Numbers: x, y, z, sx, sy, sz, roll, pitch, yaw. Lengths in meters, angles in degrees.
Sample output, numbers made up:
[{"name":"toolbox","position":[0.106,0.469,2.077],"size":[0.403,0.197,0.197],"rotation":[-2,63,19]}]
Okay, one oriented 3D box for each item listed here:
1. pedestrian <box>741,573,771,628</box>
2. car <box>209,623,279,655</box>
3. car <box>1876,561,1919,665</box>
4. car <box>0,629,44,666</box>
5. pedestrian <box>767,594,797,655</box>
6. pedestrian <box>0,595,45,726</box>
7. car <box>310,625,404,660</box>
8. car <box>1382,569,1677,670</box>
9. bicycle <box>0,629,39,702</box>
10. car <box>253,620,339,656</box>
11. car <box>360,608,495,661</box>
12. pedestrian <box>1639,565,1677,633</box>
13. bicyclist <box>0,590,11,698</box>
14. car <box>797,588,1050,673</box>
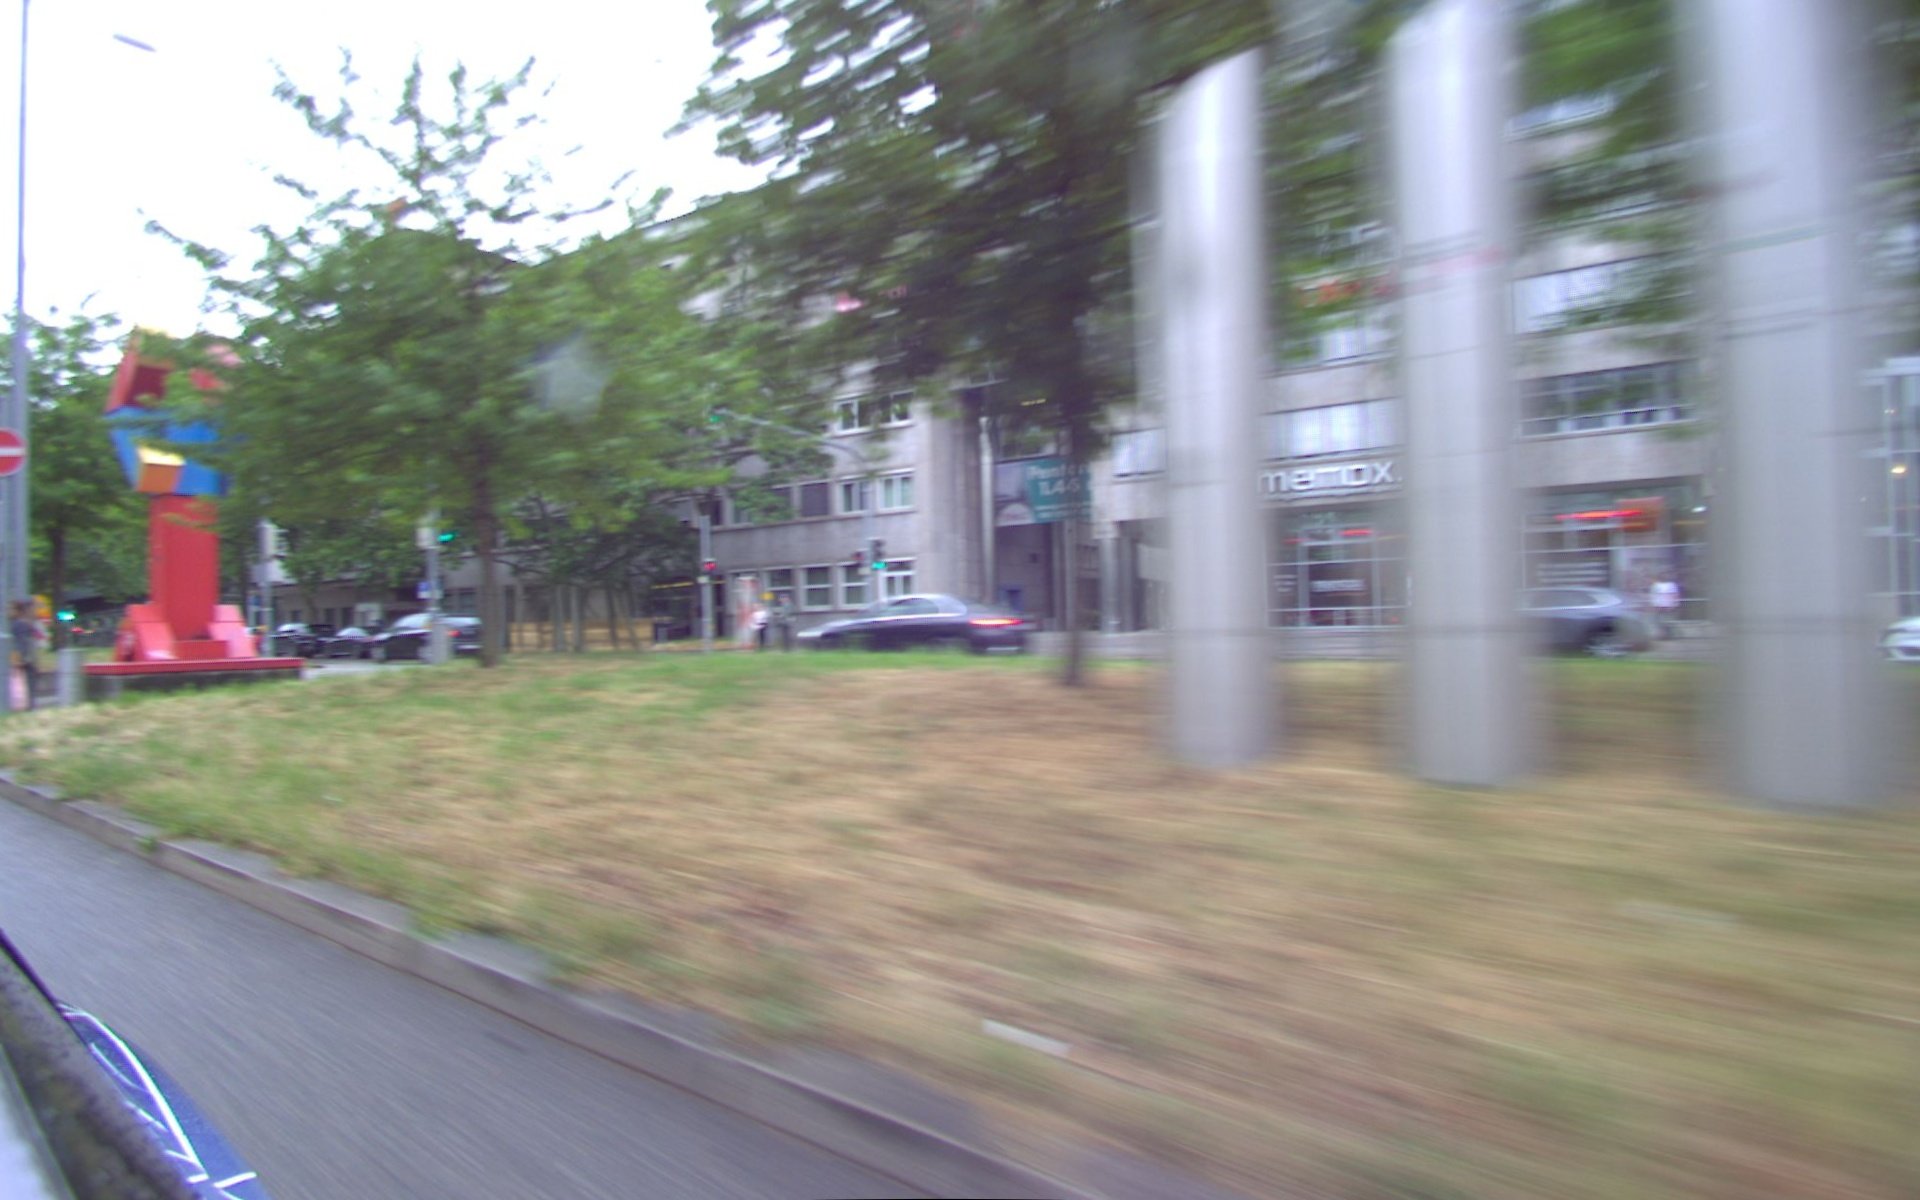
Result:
[{"name":"pedestrian","position":[-6.194,0.006,30.746],"size":[0.619,1.641,0.599],"rotation":[-2,-1,38]},{"name":"car","position":[-35.277,1.927,49.852],"size":[3.683,1.514,1.671],"rotation":[-2,-2,35]},{"name":"car","position":[17.380,0.145,15.359],"size":[4.901,1.634,1.761],"rotation":[-2,-1,35]},{"name":"car","position":[-40.631,2.007,42.623],"size":[4.709,1.478,1.776],"rotation":[-2,-3,32]},{"name":"pedestrian","position":[-5.371,0.745,30.504],"size":[0.720,1.801,0.522],"rotation":[-2,-1,38]},{"name":"pedestrian","position":[-12.678,0.799,13.542],"size":[0.720,1.698,0.522],"rotation":[-2,-1,38]},{"name":"car","position":[-26.558,1.866,44.545],"size":[4.554,1.440,1.846],"rotation":[-2,-2,35]},{"name":"car","position":[10.942,0.420,19.655],"size":[4.780,1.739,1.846],"rotation":[-2,-2,35]},{"name":"bicycle","position":[-16.364,1.130,16.422],"size":[0.776,1.147,1.953],"rotation":[-2,2,38]},{"name":"car","position":[-31.023,1.774,47.229],"size":[4.456,1.634,1.846],"rotation":[-2,-2,35]},{"name":"car","position":[-15.362,1.023,29.161],"size":[3.989,1.425,1.775],"rotation":[-2,-3,34]},{"name":"pedestrian","position":[18.846,-0.026,27.324],"size":[0.523,1.801,0.720],"rotation":[-2,-1,8]},{"name":"bicyclist","position":[-16.328,0.746,16.487],"size":[0.811,1.762,1.066],"rotation":[0,3,38]},{"name":"car","position":[-0.749,0.589,19.123],"size":[4.551,1.440,1.847],"rotation":[-2,-2,33]}]
